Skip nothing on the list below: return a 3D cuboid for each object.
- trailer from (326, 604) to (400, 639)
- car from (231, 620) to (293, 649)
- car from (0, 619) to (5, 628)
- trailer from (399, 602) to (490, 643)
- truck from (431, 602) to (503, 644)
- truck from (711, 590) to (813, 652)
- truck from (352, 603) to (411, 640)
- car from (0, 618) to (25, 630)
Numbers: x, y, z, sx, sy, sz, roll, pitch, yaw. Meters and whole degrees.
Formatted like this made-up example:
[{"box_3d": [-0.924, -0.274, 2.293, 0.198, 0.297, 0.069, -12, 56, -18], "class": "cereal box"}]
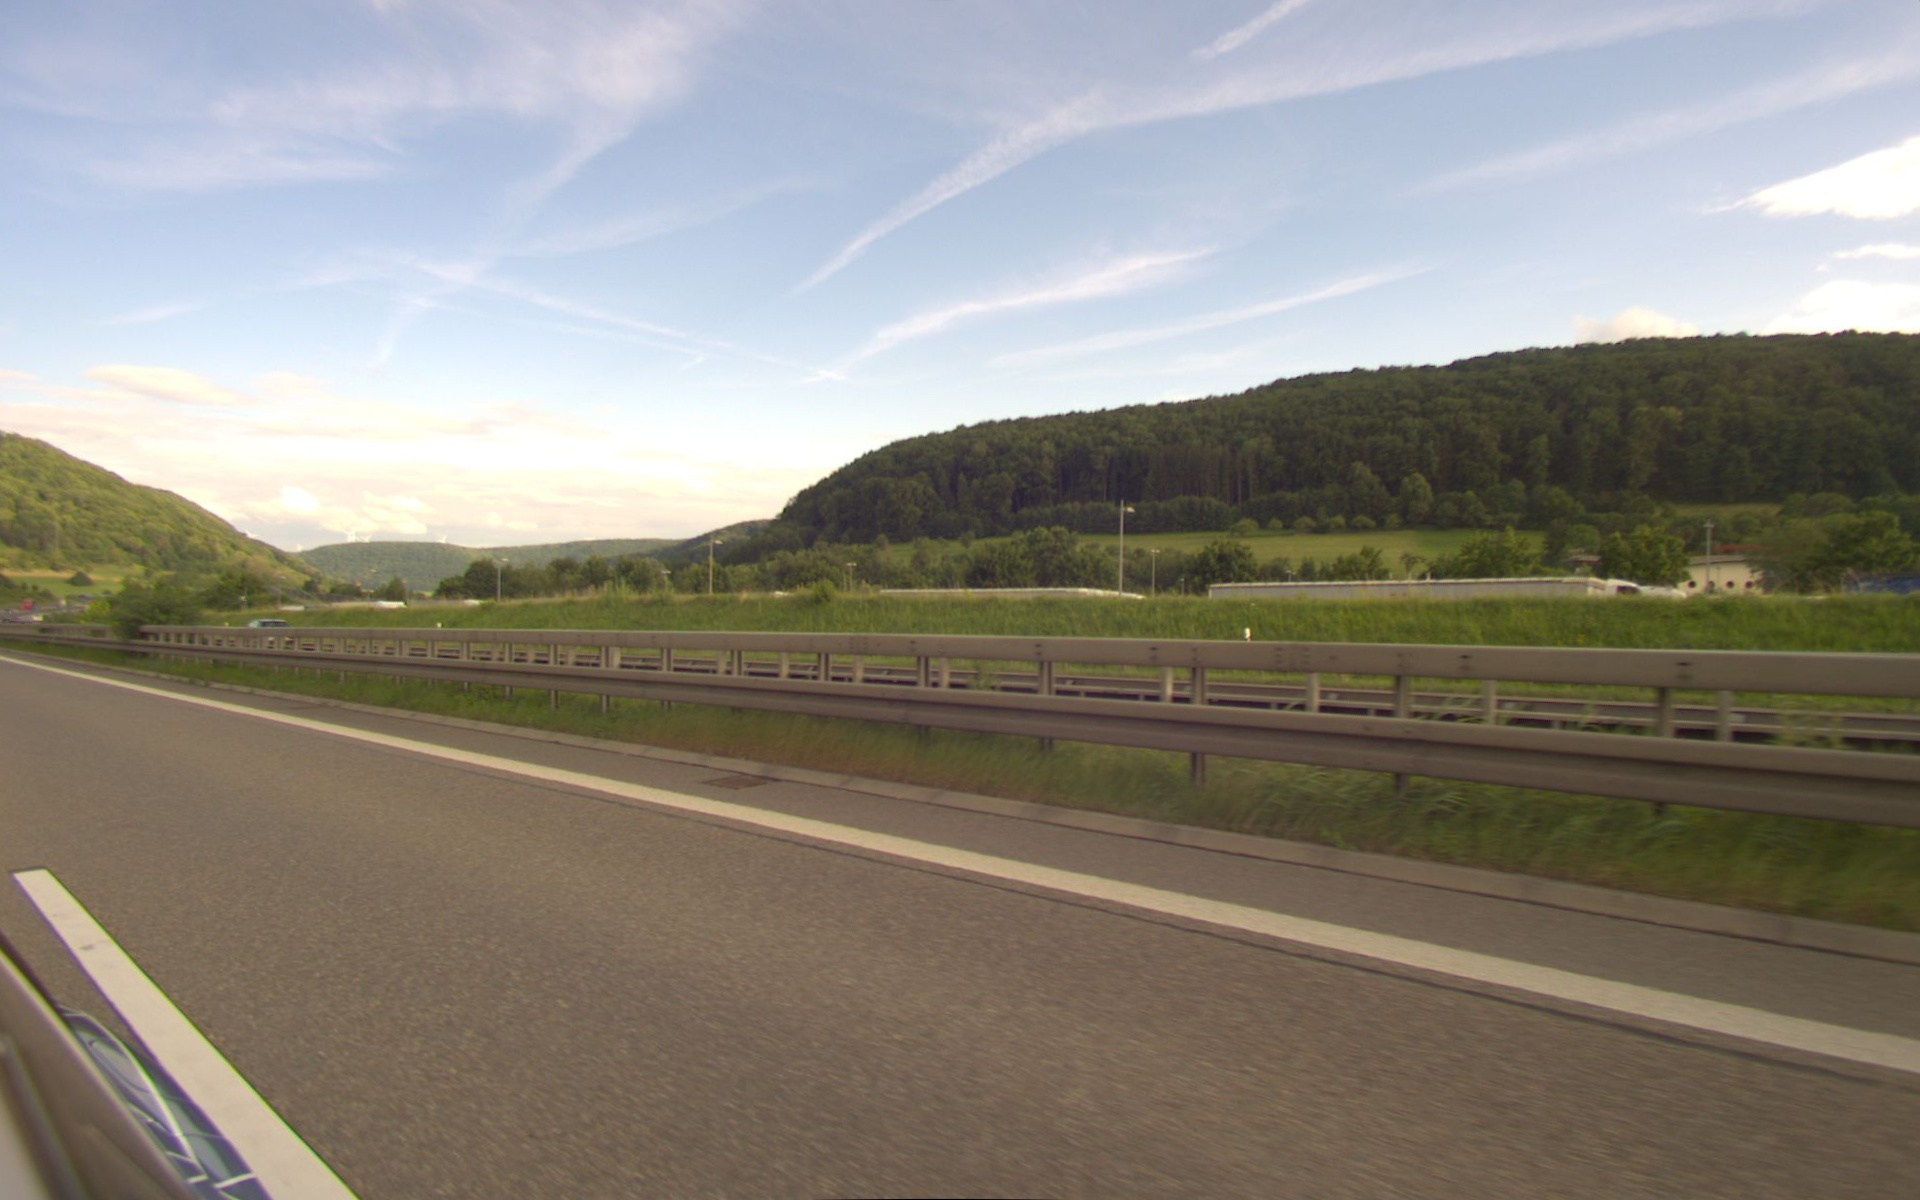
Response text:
[{"box_3d": [-66.444, 2.402, 112.408, 13.668, 3.724, 2.847, -1, -2, 41], "class": "trailer"}, {"box_3d": [-36.268, 1.786, 52.572, 3.997, 1.475, 1.635, -1, -3, 40], "class": "car"}, {"box_3d": [-182.067, 4.387, 191.390, 4.342, 1.626, 1.787, -1, -3, 43], "class": "car"}, {"box_3d": [-49.761, 2.098, 97.458, 13.671, 3.724, 2.847, 0, -3, 42], "class": "trailer"}, {"box_3d": [-45.807, 2.091, 93.913, 8.490, 3.719, 2.851, 0, -3, 42], "class": "truck"}, {"box_3d": [-12.620, 1.379, 64.250, 6.588, 3.719, 2.851, -1, -3, 41], "class": "truck"}, {"box_3d": [-62.229, 2.323, 108.760, 8.489, 3.719, 2.851, -1, -3, 41], "class": "truck"}, {"box_3d": [-121.980, 3.104, 130.276, 3.871, 1.487, 1.931, -1, -3, 41], "class": "car"}]
